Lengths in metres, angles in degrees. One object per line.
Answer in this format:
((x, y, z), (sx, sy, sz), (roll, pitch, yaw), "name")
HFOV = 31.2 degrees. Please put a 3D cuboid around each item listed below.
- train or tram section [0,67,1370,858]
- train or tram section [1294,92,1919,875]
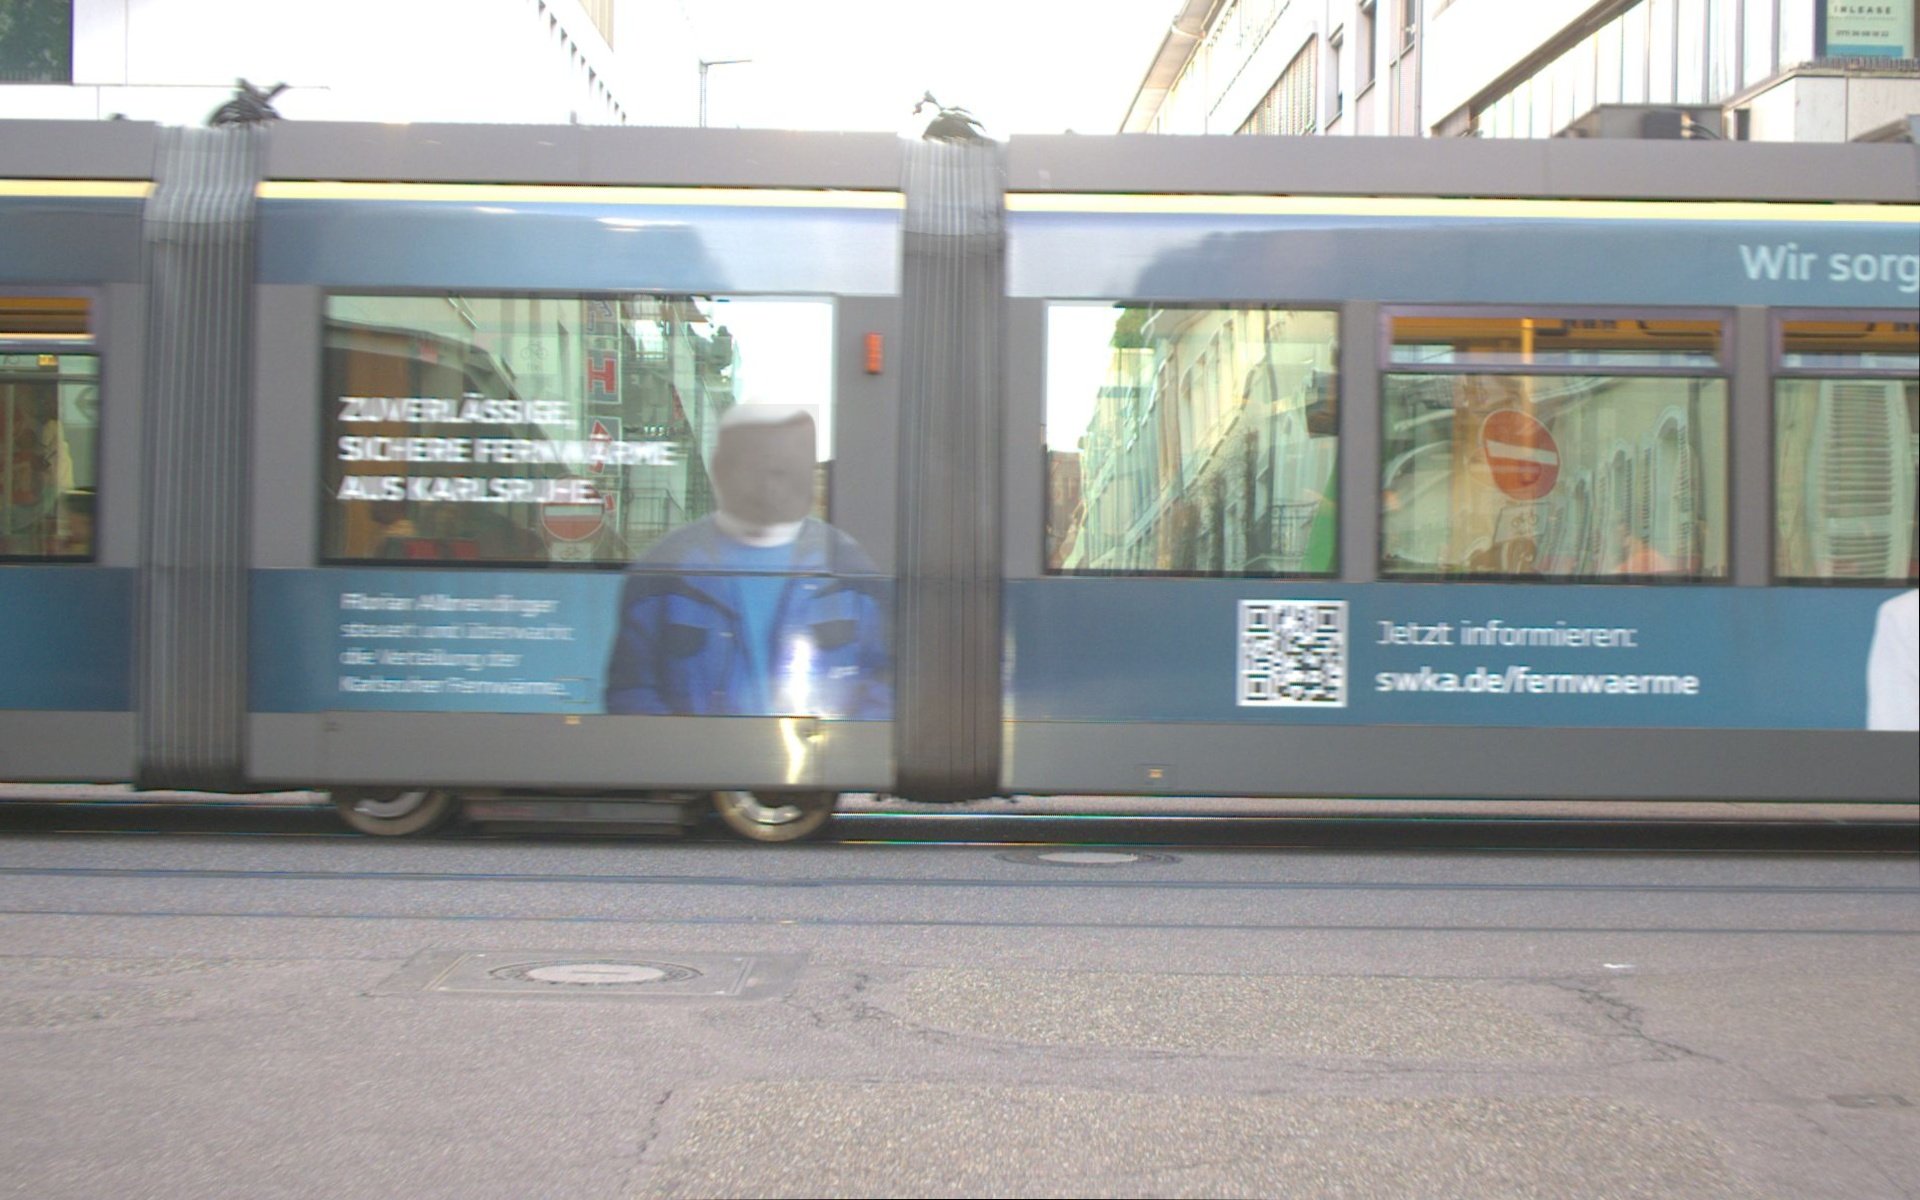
((-3.370, -0.638, 16.916), (10.367, 3.511, 3.017), (0, 0, -1), "train or tram section")
((6.986, -0.535, 17.012), (10.336, 3.511, 3.027), (0, 1, -1), "train or tram section")
